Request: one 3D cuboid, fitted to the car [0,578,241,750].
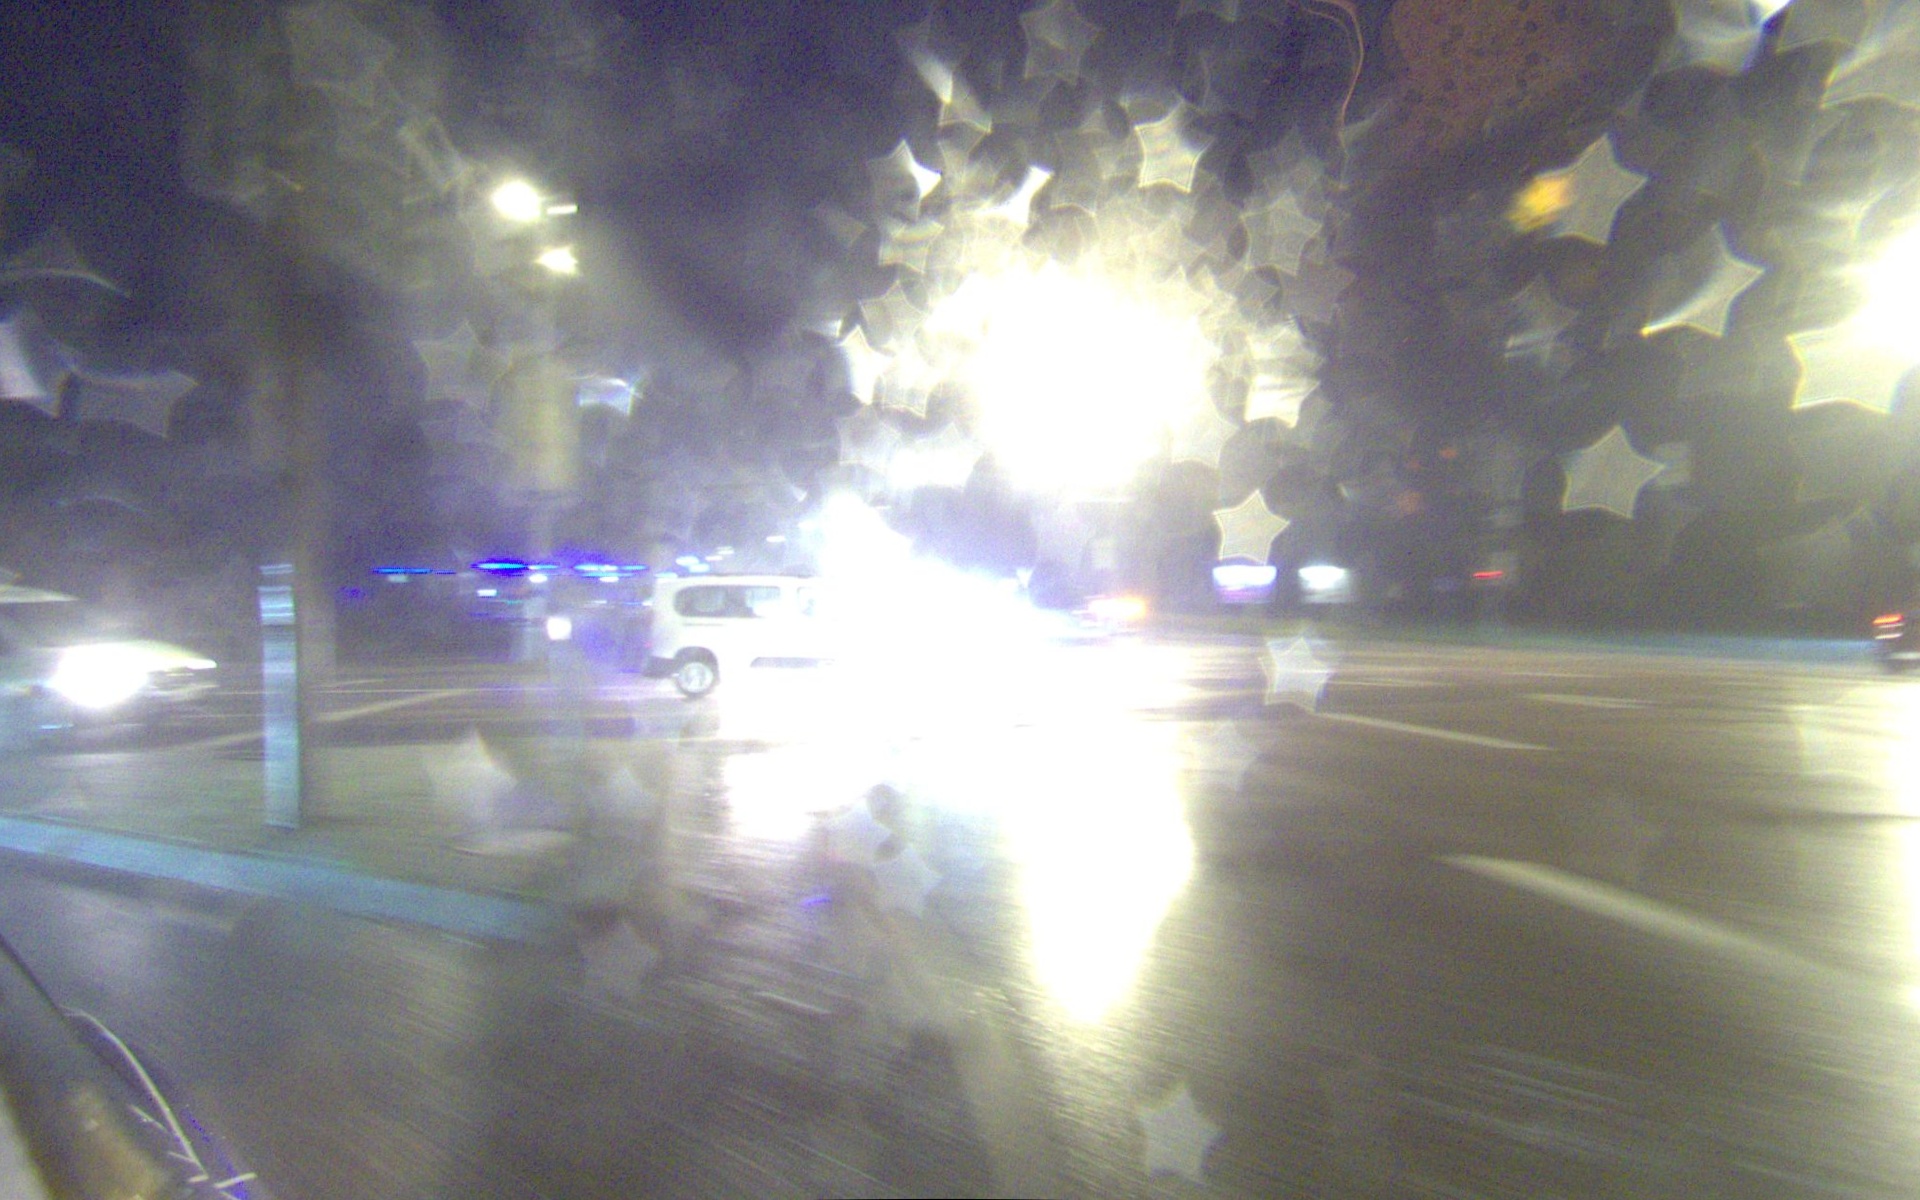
[{"bbox_3d":[-11.265,0.684,11.802,4.494,1.844,1.783,0,1,0],"label":"car"}]

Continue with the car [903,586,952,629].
[{"bbox_3d":[-1.722,0.322,52.225,1.764,2.039,4.158,-1,2,-13],"label":"car"}]

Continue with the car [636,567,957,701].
[{"bbox_3d":[-2.481,0.485,15.952,4.650,1.806,2.002,-2,0,-5],"label":"car"}]

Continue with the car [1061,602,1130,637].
[{"bbox_3d":[6.640,0.919,50.030,1.805,1.485,4.050,-2,2,-17],"label":"car"}]

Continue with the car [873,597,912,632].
[{"bbox_3d":[-4.087,0.854,60.773,1.684,1.952,3.620,-1,2,-14],"label":"car"}]

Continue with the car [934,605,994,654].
[{"bbox_3d":[0.120,1.215,44.013,1.640,1.867,4.158,-1,2,-13],"label":"car"}]

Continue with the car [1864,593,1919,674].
[{"bbox_3d":[19.434,0.583,19.046,4.050,1.418,1.842,-2,2,-18],"label":"car"}]
